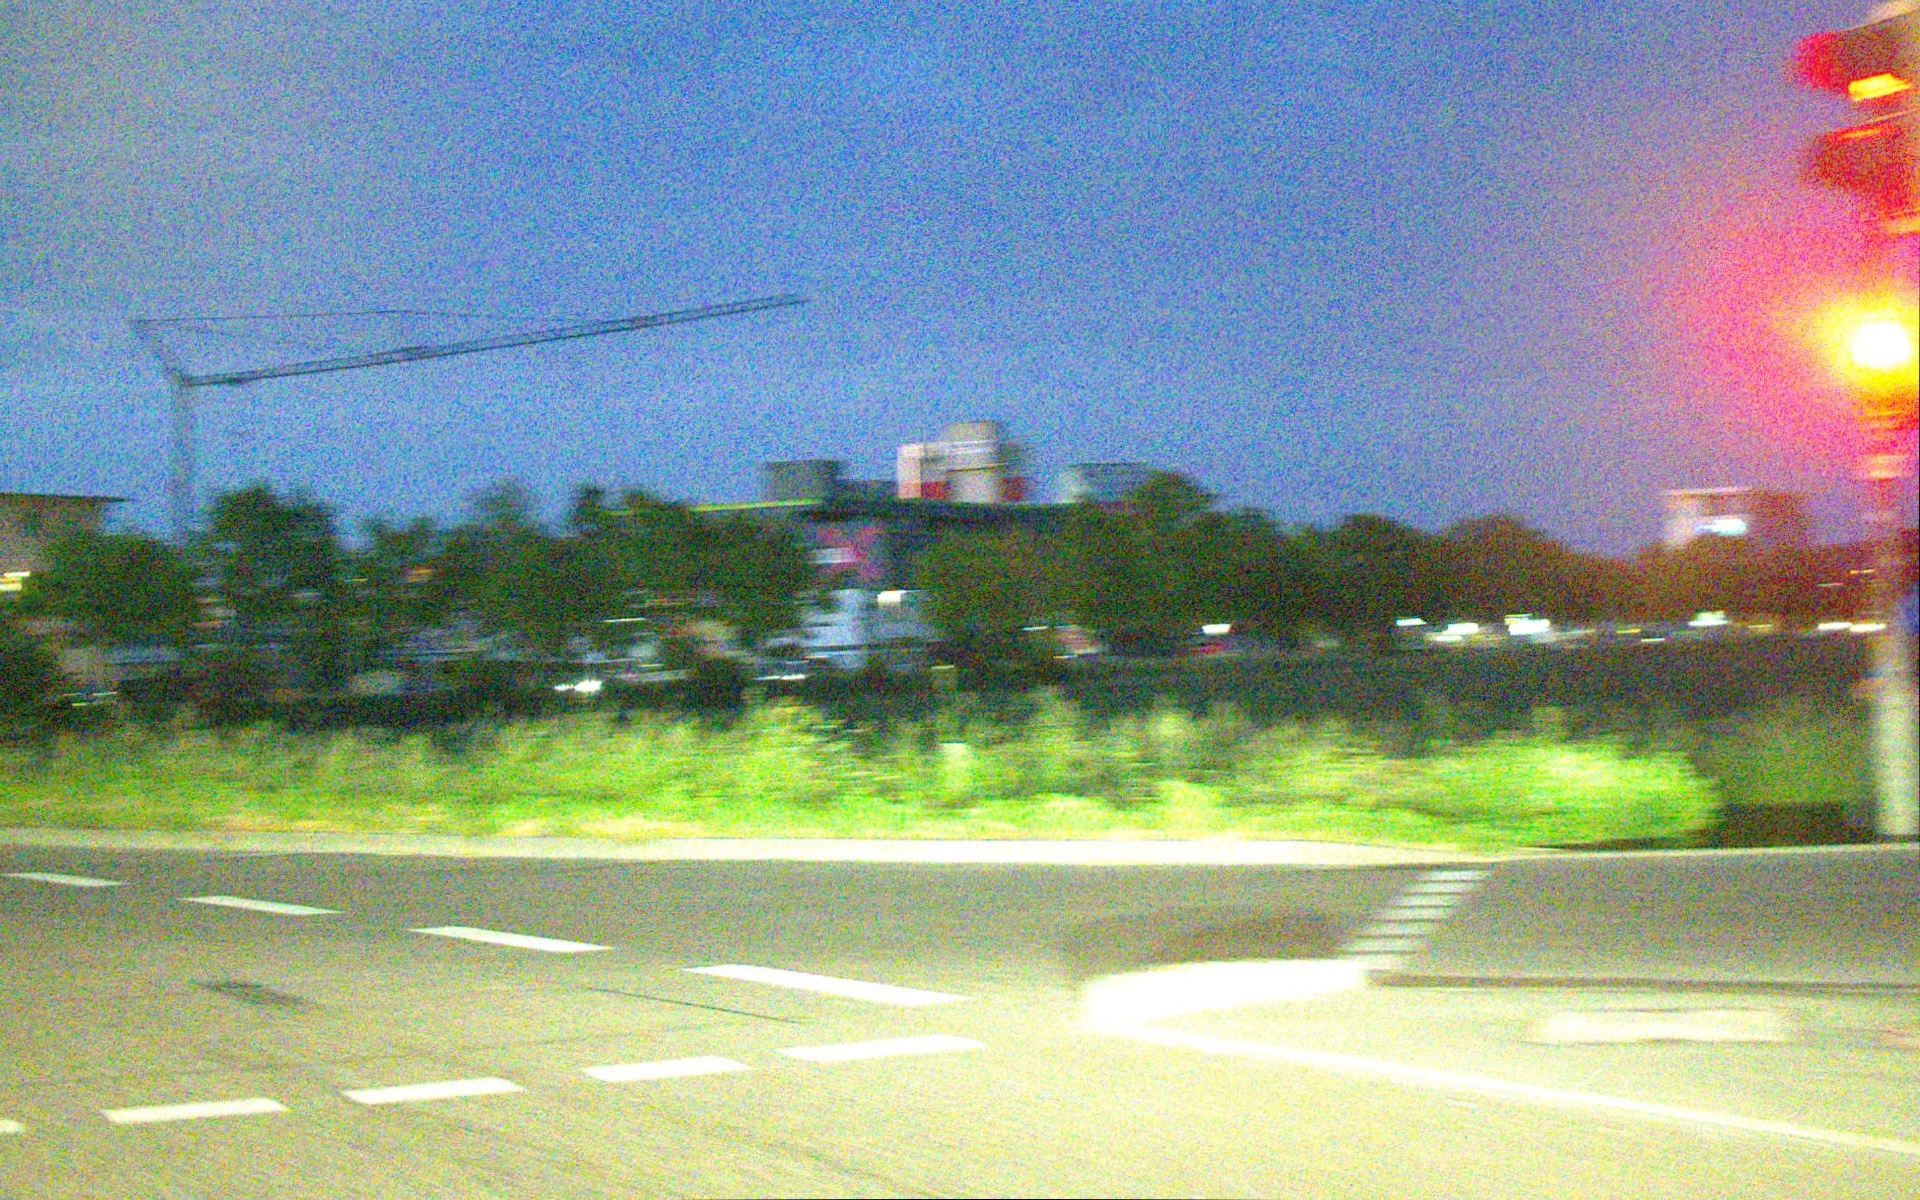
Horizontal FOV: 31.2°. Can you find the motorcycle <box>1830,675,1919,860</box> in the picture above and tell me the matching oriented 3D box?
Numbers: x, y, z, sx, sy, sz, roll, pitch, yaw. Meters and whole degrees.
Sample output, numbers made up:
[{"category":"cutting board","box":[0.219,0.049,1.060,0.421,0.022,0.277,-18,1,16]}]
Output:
[{"category":"motorcycle","box":[5.793,1.001,20.177,0.722,1.030,1.573,-5,-7,38]}]

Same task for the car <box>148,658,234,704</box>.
[{"category":"car","box":[-35.952,3.770,160.809,1.996,2.007,3.996,0,1,22]}]

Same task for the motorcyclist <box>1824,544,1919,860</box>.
[{"category":"motorcyclist","box":[5.721,0.609,20.186,0.916,1.803,0.868,-5,-7,38]}]
